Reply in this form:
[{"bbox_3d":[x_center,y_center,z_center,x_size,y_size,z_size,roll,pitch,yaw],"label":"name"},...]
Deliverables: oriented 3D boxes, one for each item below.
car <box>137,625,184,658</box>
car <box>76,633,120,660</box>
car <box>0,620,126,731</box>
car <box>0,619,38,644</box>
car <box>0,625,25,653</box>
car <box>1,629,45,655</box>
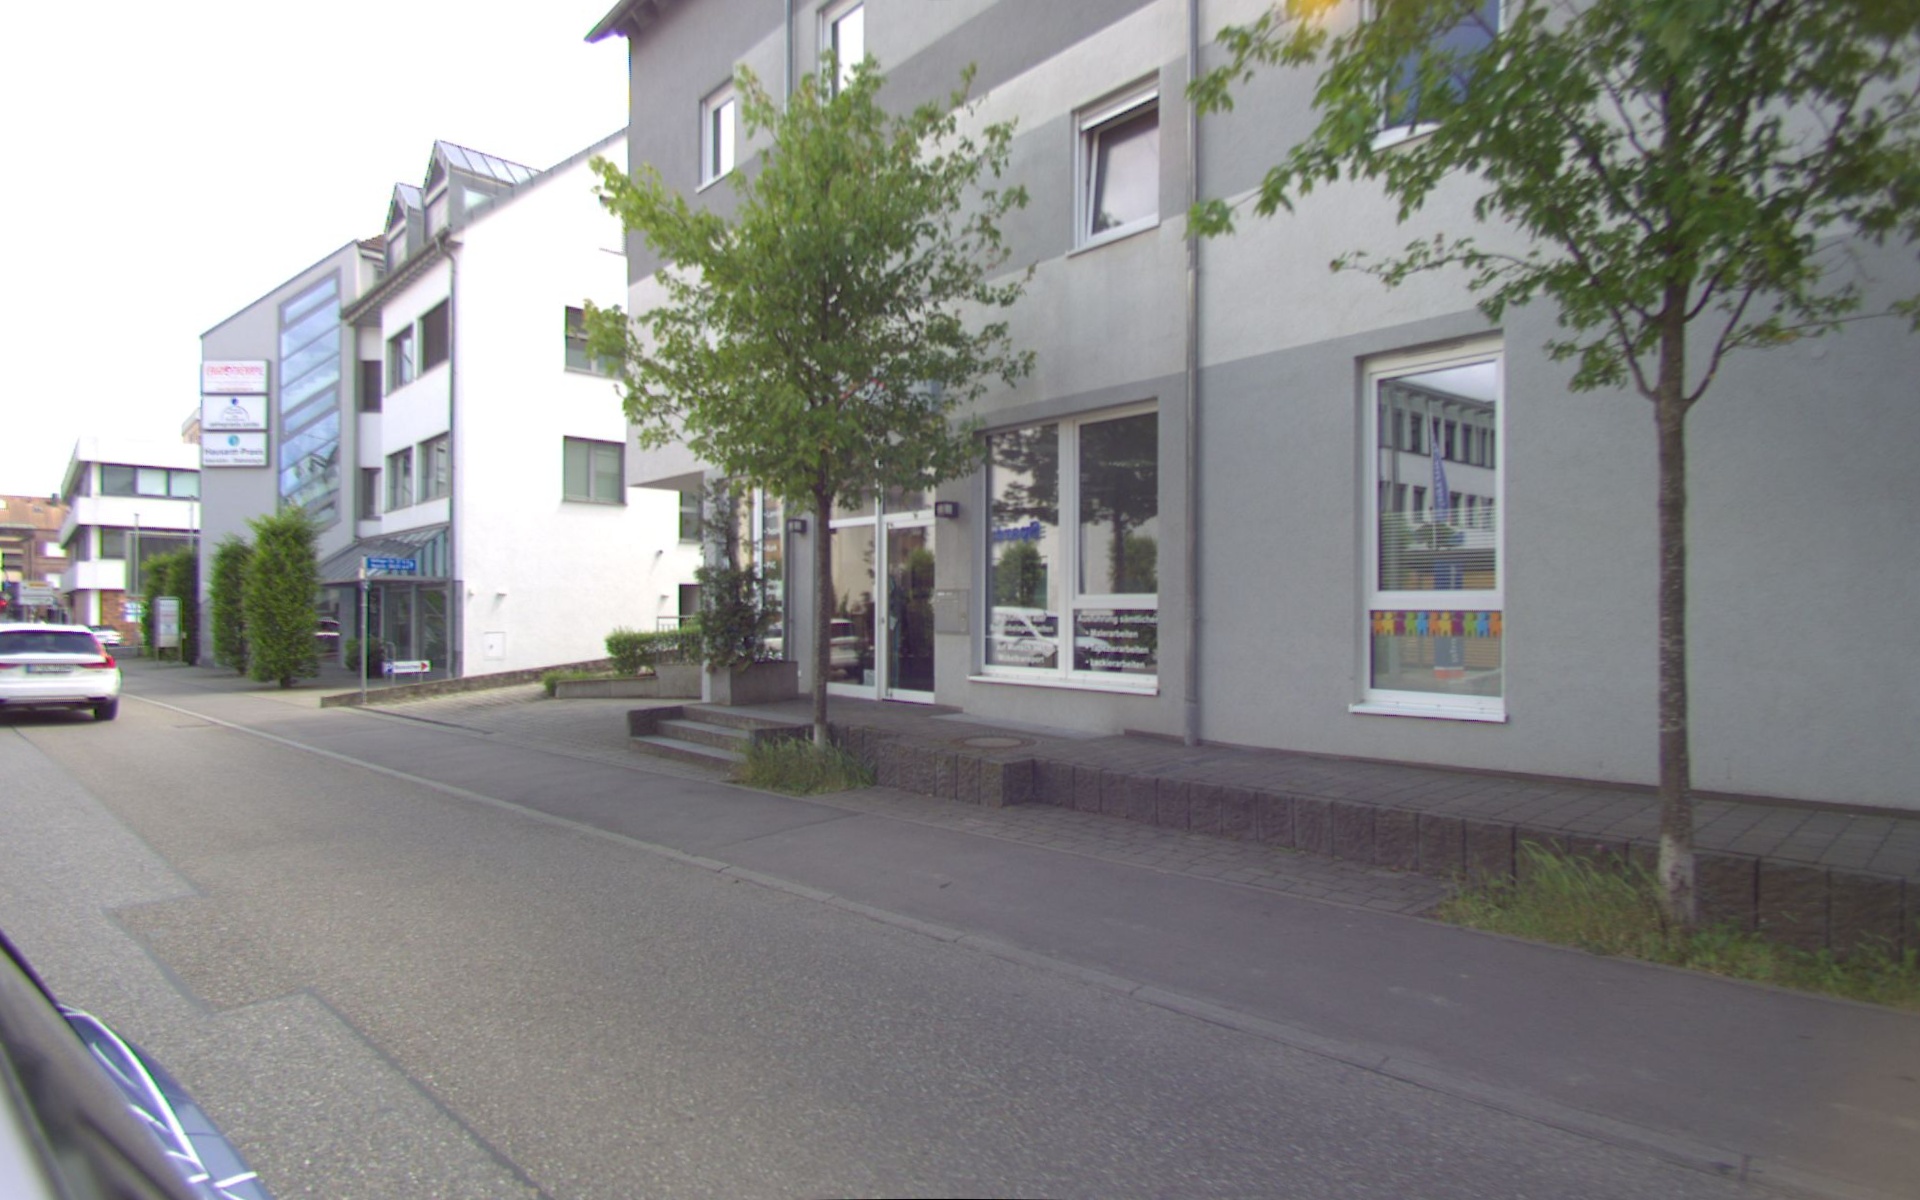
[{"bbox_3d":[-45.417,2.343,57.444,1.869,1.710,3.806,4,-3,-41],"label":"car"},{"bbox_3d":[-47.495,2.528,55.738,1.798,1.338,4.242,0,-1,-41],"label":"car"},{"bbox_3d":[-15.108,1.142,16.277,4.799,1.572,1.877,-2,-4,42],"label":"car"},{"bbox_3d":[-60.421,1.996,64.912,1.782,1.541,4.006,0,-1,-41],"label":"car"},{"bbox_3d":[-64.395,2.612,68.348,1.677,1.790,4.468,0,-1,-41],"label":"car"},{"bbox_3d":[-55.622,2.472,60.069,1.814,1.437,4.221,0,-1,-44],"label":"car"}]
